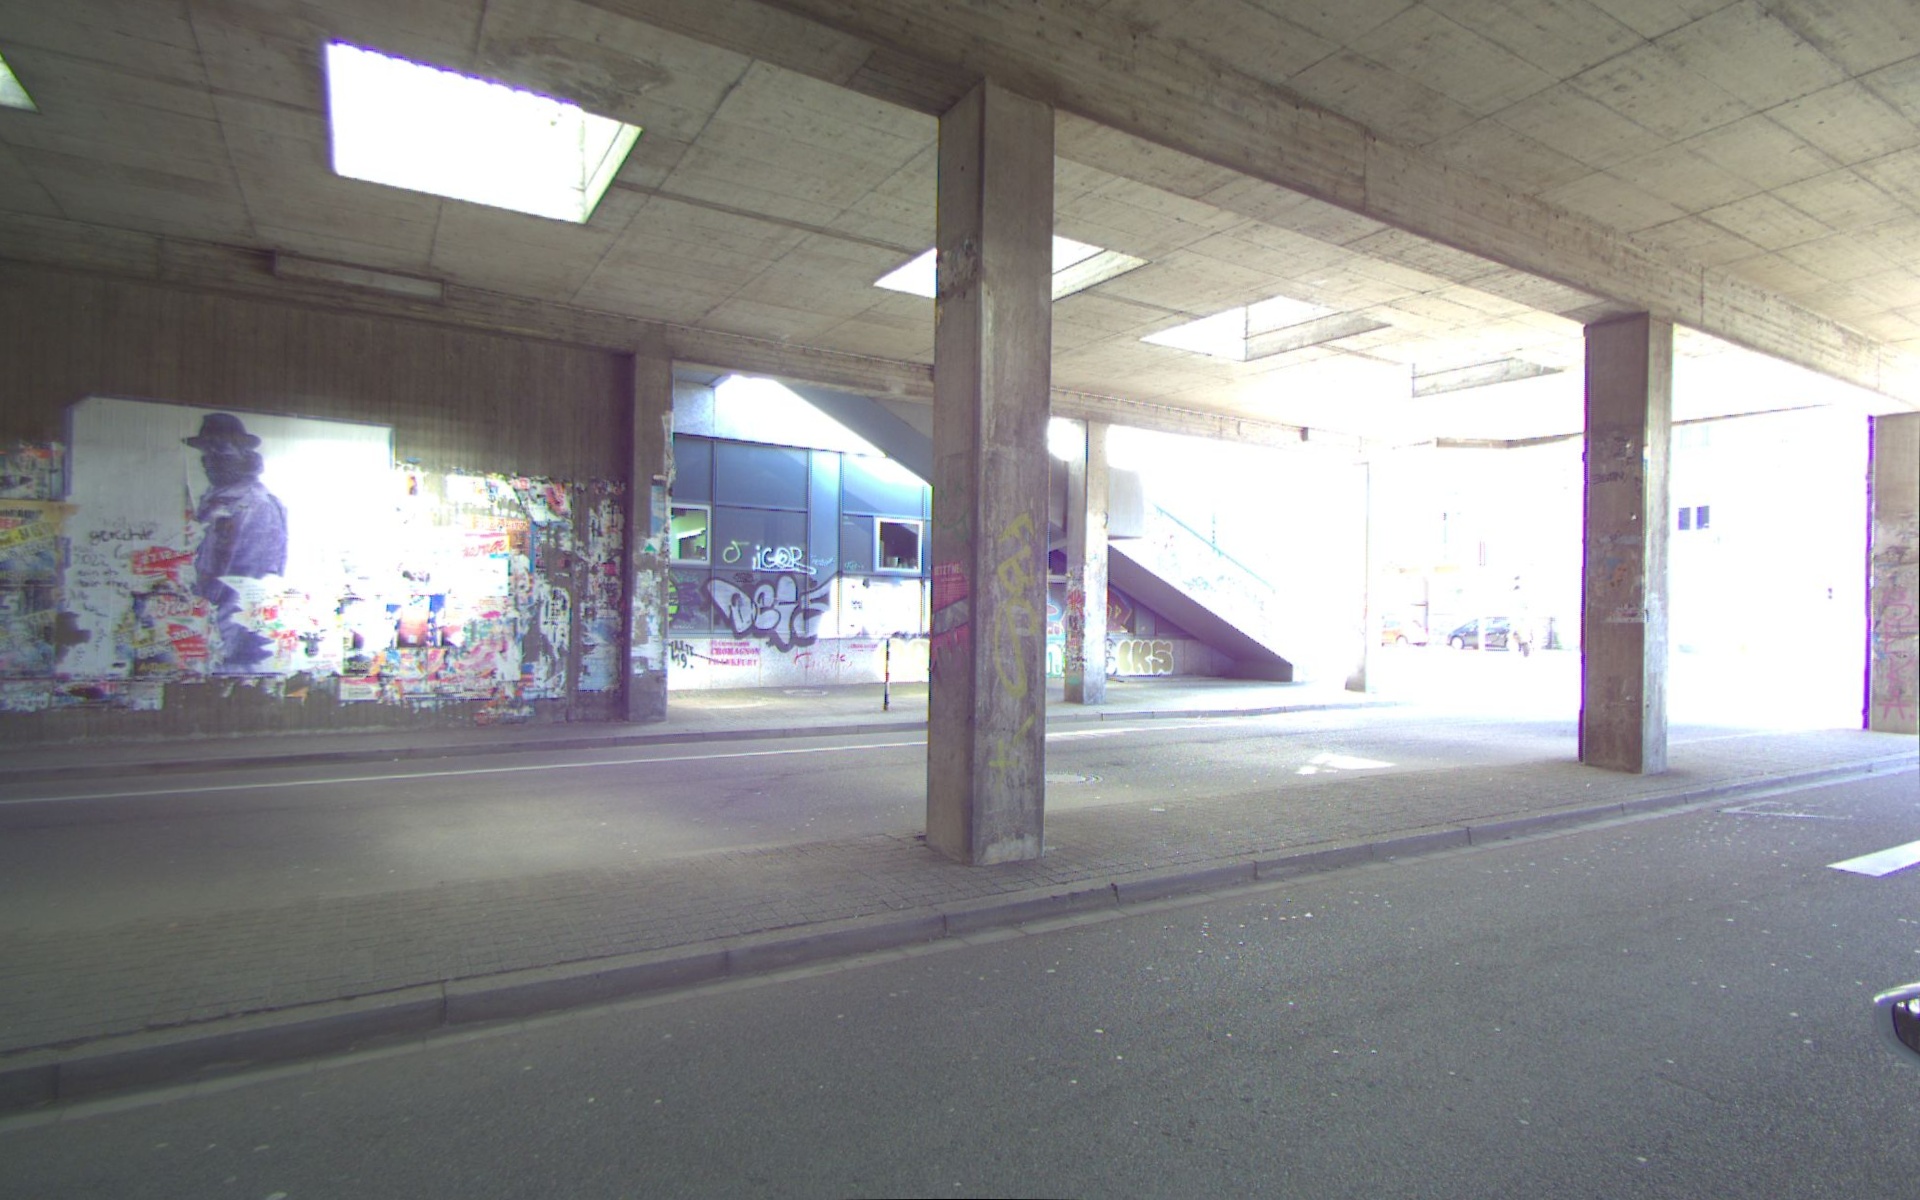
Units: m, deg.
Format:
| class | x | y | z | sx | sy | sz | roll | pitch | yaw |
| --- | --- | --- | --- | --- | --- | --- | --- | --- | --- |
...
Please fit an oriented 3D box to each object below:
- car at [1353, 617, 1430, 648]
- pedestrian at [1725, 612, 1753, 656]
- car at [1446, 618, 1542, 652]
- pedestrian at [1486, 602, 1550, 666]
| class | x | y | z | sx | sy | sz | roll | pitch | yaw |
| --- | --- | --- | --- | --- | --- | --- | --- | --- | --- |
| car | 22.500 | 1.688 | 52.499 | 1.543 | 1.526 | 3.518 | 1 | -1 | -29 |
| pedestrian | 31.540 | 1.379 | 40.678 | 0.618 | 1.727 | 0.716 | 2 | 0 | -34 |
| car | 25.393 | 1.642 | 47.860 | 1.732 | 1.528 | 3.735 | 1 | -1 | -31 |
| pedestrian | 15.722 | 0.958 | 28.333 | 1.123 | 1.760 | 1.111 | 1 | -1 | -17 |
